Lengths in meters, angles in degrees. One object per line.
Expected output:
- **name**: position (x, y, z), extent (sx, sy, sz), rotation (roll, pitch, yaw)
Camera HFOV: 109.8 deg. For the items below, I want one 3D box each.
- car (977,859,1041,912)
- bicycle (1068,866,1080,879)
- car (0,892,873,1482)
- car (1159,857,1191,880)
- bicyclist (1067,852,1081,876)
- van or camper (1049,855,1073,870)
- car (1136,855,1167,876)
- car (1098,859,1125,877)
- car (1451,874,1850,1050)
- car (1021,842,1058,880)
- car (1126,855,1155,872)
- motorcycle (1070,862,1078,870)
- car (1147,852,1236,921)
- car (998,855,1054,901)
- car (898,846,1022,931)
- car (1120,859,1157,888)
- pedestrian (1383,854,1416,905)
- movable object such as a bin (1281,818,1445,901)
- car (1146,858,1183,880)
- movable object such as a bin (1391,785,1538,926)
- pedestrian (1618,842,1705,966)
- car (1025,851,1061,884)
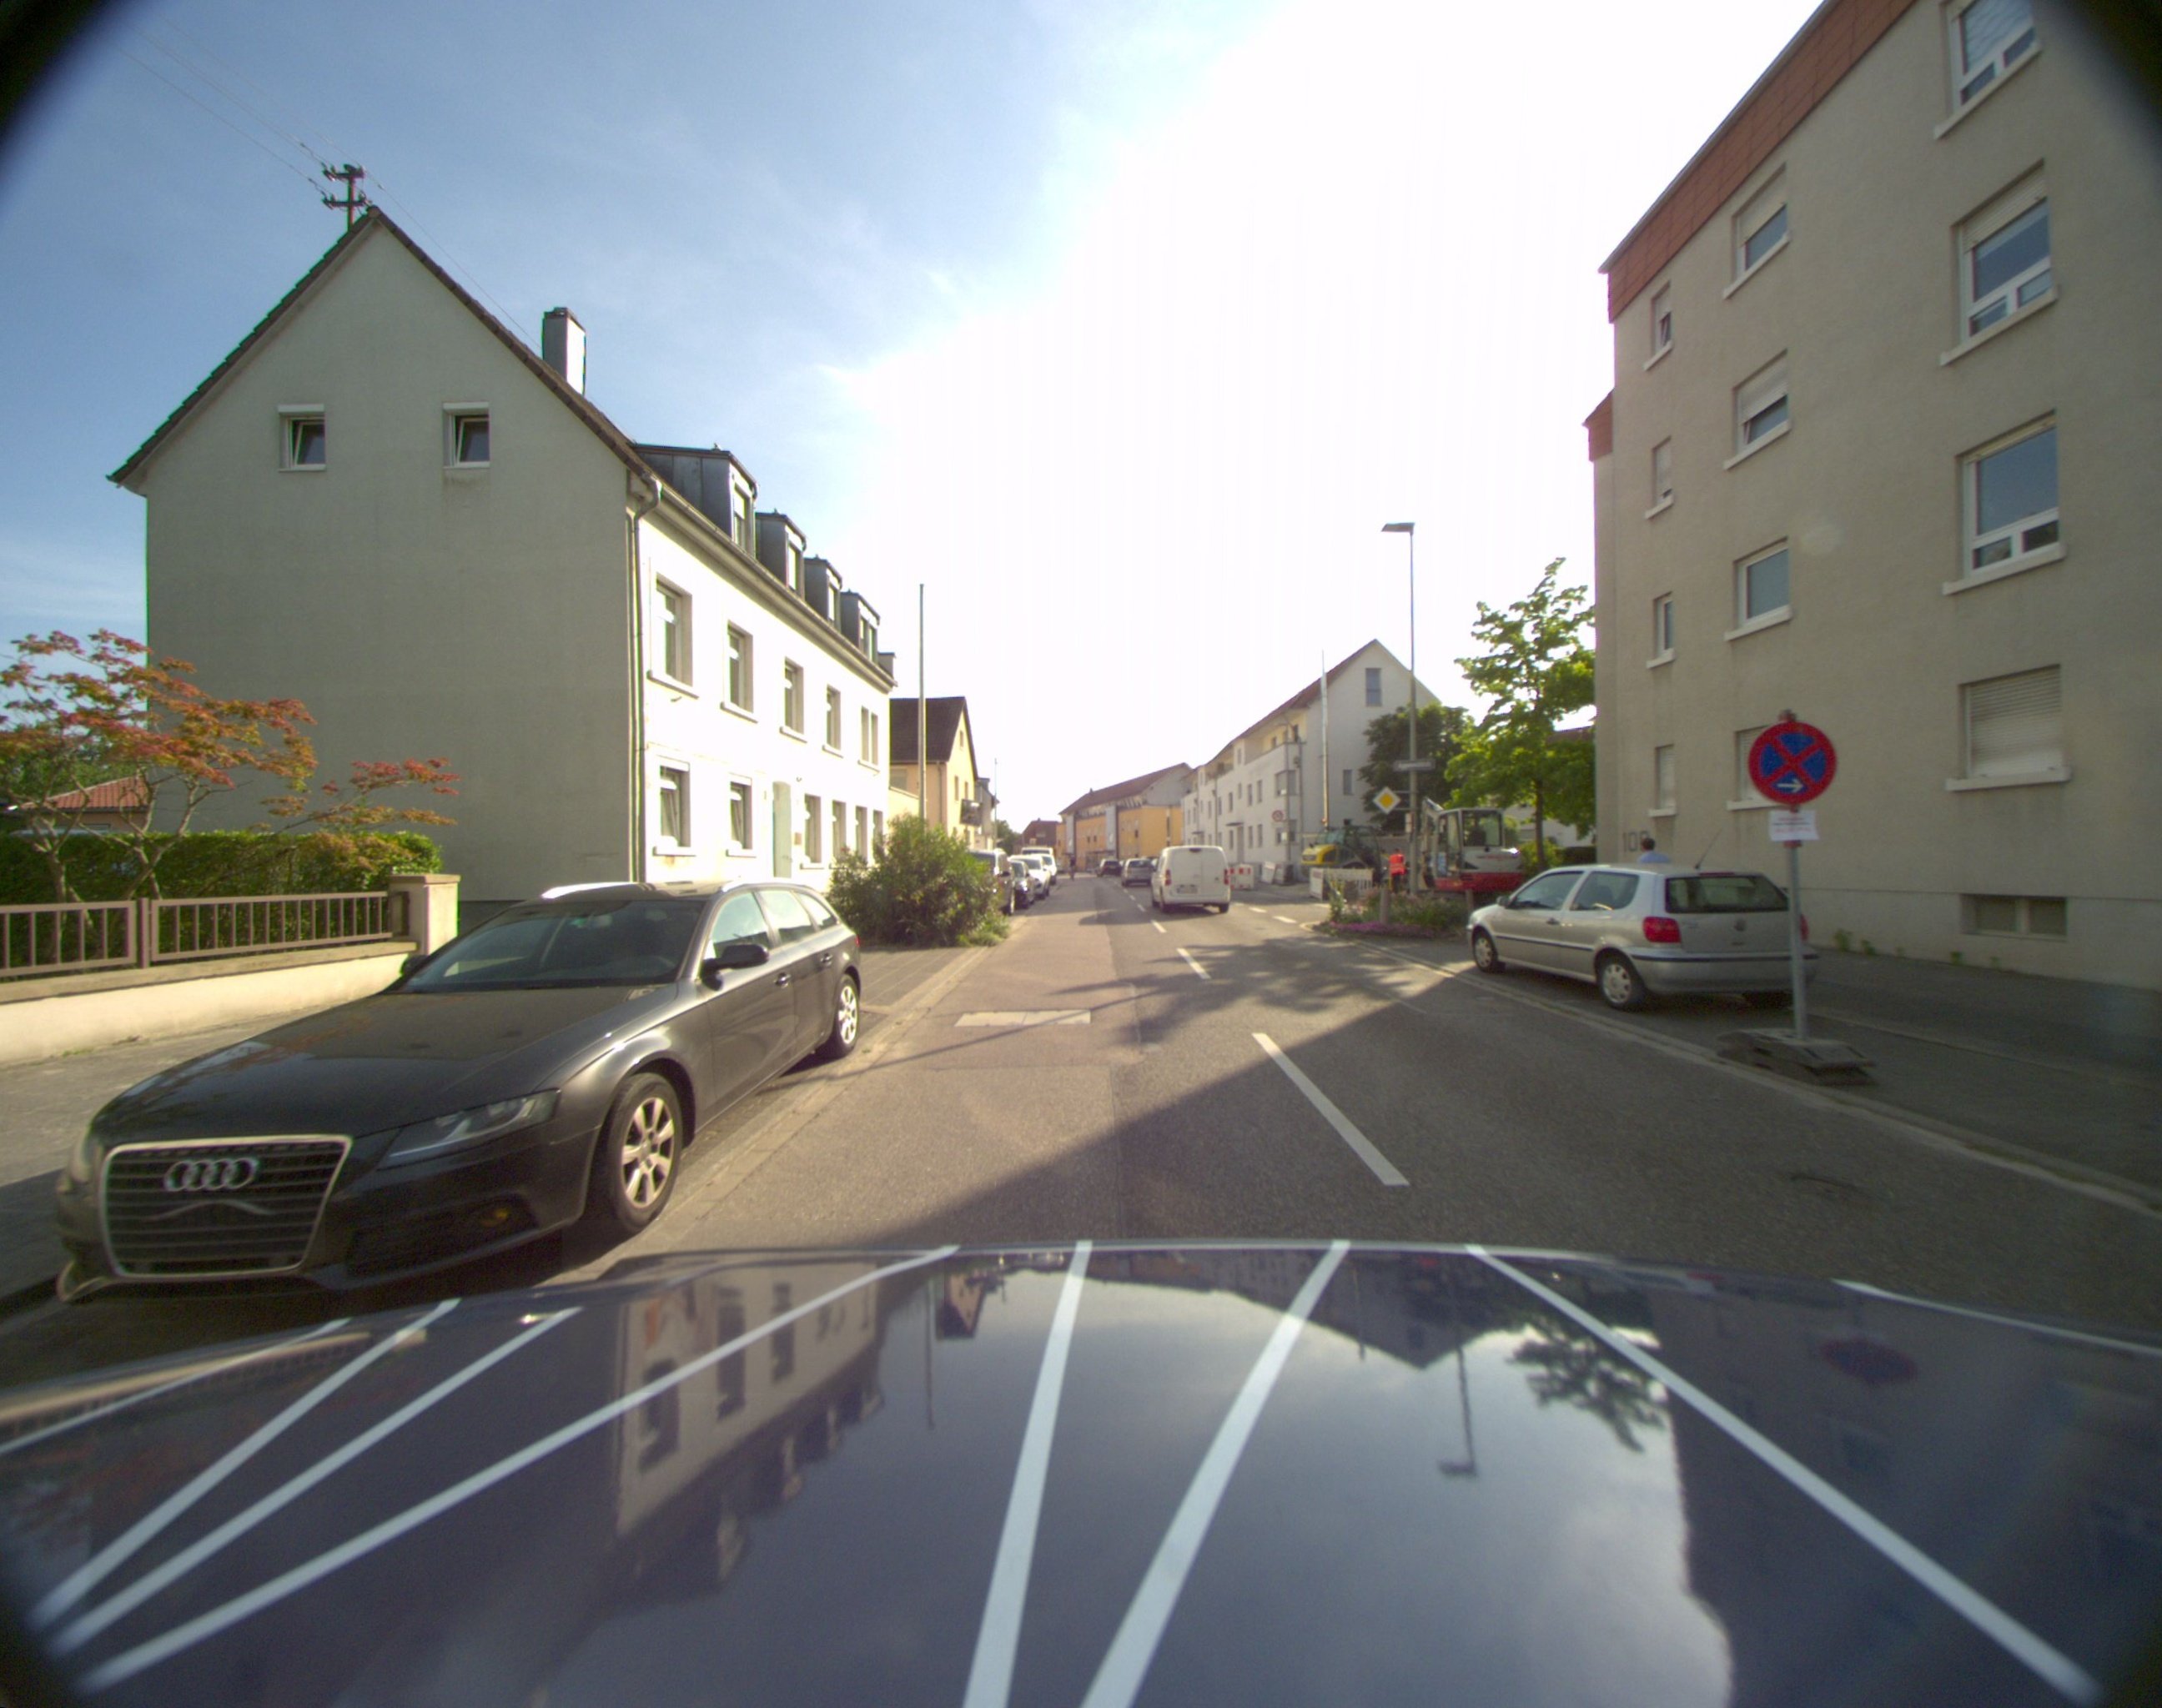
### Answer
- **car**: position (-2.273, 0.954, 25.087), extent (1.593, 1.519, 4.613), rotation (1, 0, 1)
- **bicycle**: position (-0.510, 1.333, 54.520), extent (0.680, 0.849, 2.025), rotation (-1, 0, -7)
- **car**: position (-2.726, 1.042, 4.352), extent (1.784, 1.412, 4.496), rotation (-1, 0, 0)
- **car**: position (6.189, 0.923, 50.309), extent (1.497, 1.456, 3.512), rotation (0, 0, -3)
- **bicyclist**: position (-0.517, 0.730, 54.606), extent (0.846, 1.679, 0.877), rotation (-1, 1, -8)
- **van or camper**: position (-2.807, 1.164, 105.836), extent (2.001, 1.991, 4.914), rotation (-2, 0, -17)
- **car**: position (5.735, 0.930, 62.384), extent (1.732, 1.612, 4.261), rotation (0, 0, -6)
- **car**: position (2.442, 1.138, 62.261), extent (1.835, 1.412, 4.208), rotation (-1, 0, -3)
- **car**: position (5.843, 0.988, 8.434), extent (1.644, 1.387, 3.671), rotation (-1, 0, 0)
- **car**: position (-2.635, 0.482, 49.338), extent (2.180, 2.313, 4.997), rotation (1, 0, -1)
- **car**: position (5.249, 0.855, 67.467), extent (1.732, 1.469, 4.501), rotation (-2, -1, -6)
- **motorcycle**: position (-1.096, 1.723, 112.037), extent (0.584, 1.175, 1.875), rotation (-2, 0, -19)
- **car**: position (3.060, 0.850, 21.906), extent (1.927, 1.756, 4.338), rotation (0, 0, 0)
- **car**: position (-2.104, 0.876, 30.293), extent (1.816, 1.674, 4.477), rotation (0, 0, 1)
- **car**: position (-2.852, 0.789, 19.047), extent (2.080, 1.845, 4.612), rotation (1, 0, 4)
- **car**: position (3.008, 1.009, 40.446), extent (1.622, 1.446, 3.685), rotation (0, 0, -1)
- **pedestrian**: position (10.584, 0.827, 25.295), extent (0.669, 1.654, 0.993), rotation (-2, 0, 2)
- **movable object such as a bin**: position (10.755, 0.193, 29.089), extent (5.516, 2.883, 2.110), rotation (-2, 0, -11)
- **car**: position (6.136, 1.056, 56.284), extent (1.732, 1.469, 4.261), rotation (-3, 0, -6)
- **movable object such as a bin**: position (9.333, 0.054, 18.870), extent (1.652, 3.119, 3.900), rotation (-1, 0, 0)
- **pedestrian**: position (8.774, 0.737, 11.511), extent (0.720, 1.808, 0.745), rotation (-2, 0, 2)
- **car**: position (-2.129, 0.741, 43.130), extent (1.782, 1.731, 4.483), rotation (2, 0, 0)
